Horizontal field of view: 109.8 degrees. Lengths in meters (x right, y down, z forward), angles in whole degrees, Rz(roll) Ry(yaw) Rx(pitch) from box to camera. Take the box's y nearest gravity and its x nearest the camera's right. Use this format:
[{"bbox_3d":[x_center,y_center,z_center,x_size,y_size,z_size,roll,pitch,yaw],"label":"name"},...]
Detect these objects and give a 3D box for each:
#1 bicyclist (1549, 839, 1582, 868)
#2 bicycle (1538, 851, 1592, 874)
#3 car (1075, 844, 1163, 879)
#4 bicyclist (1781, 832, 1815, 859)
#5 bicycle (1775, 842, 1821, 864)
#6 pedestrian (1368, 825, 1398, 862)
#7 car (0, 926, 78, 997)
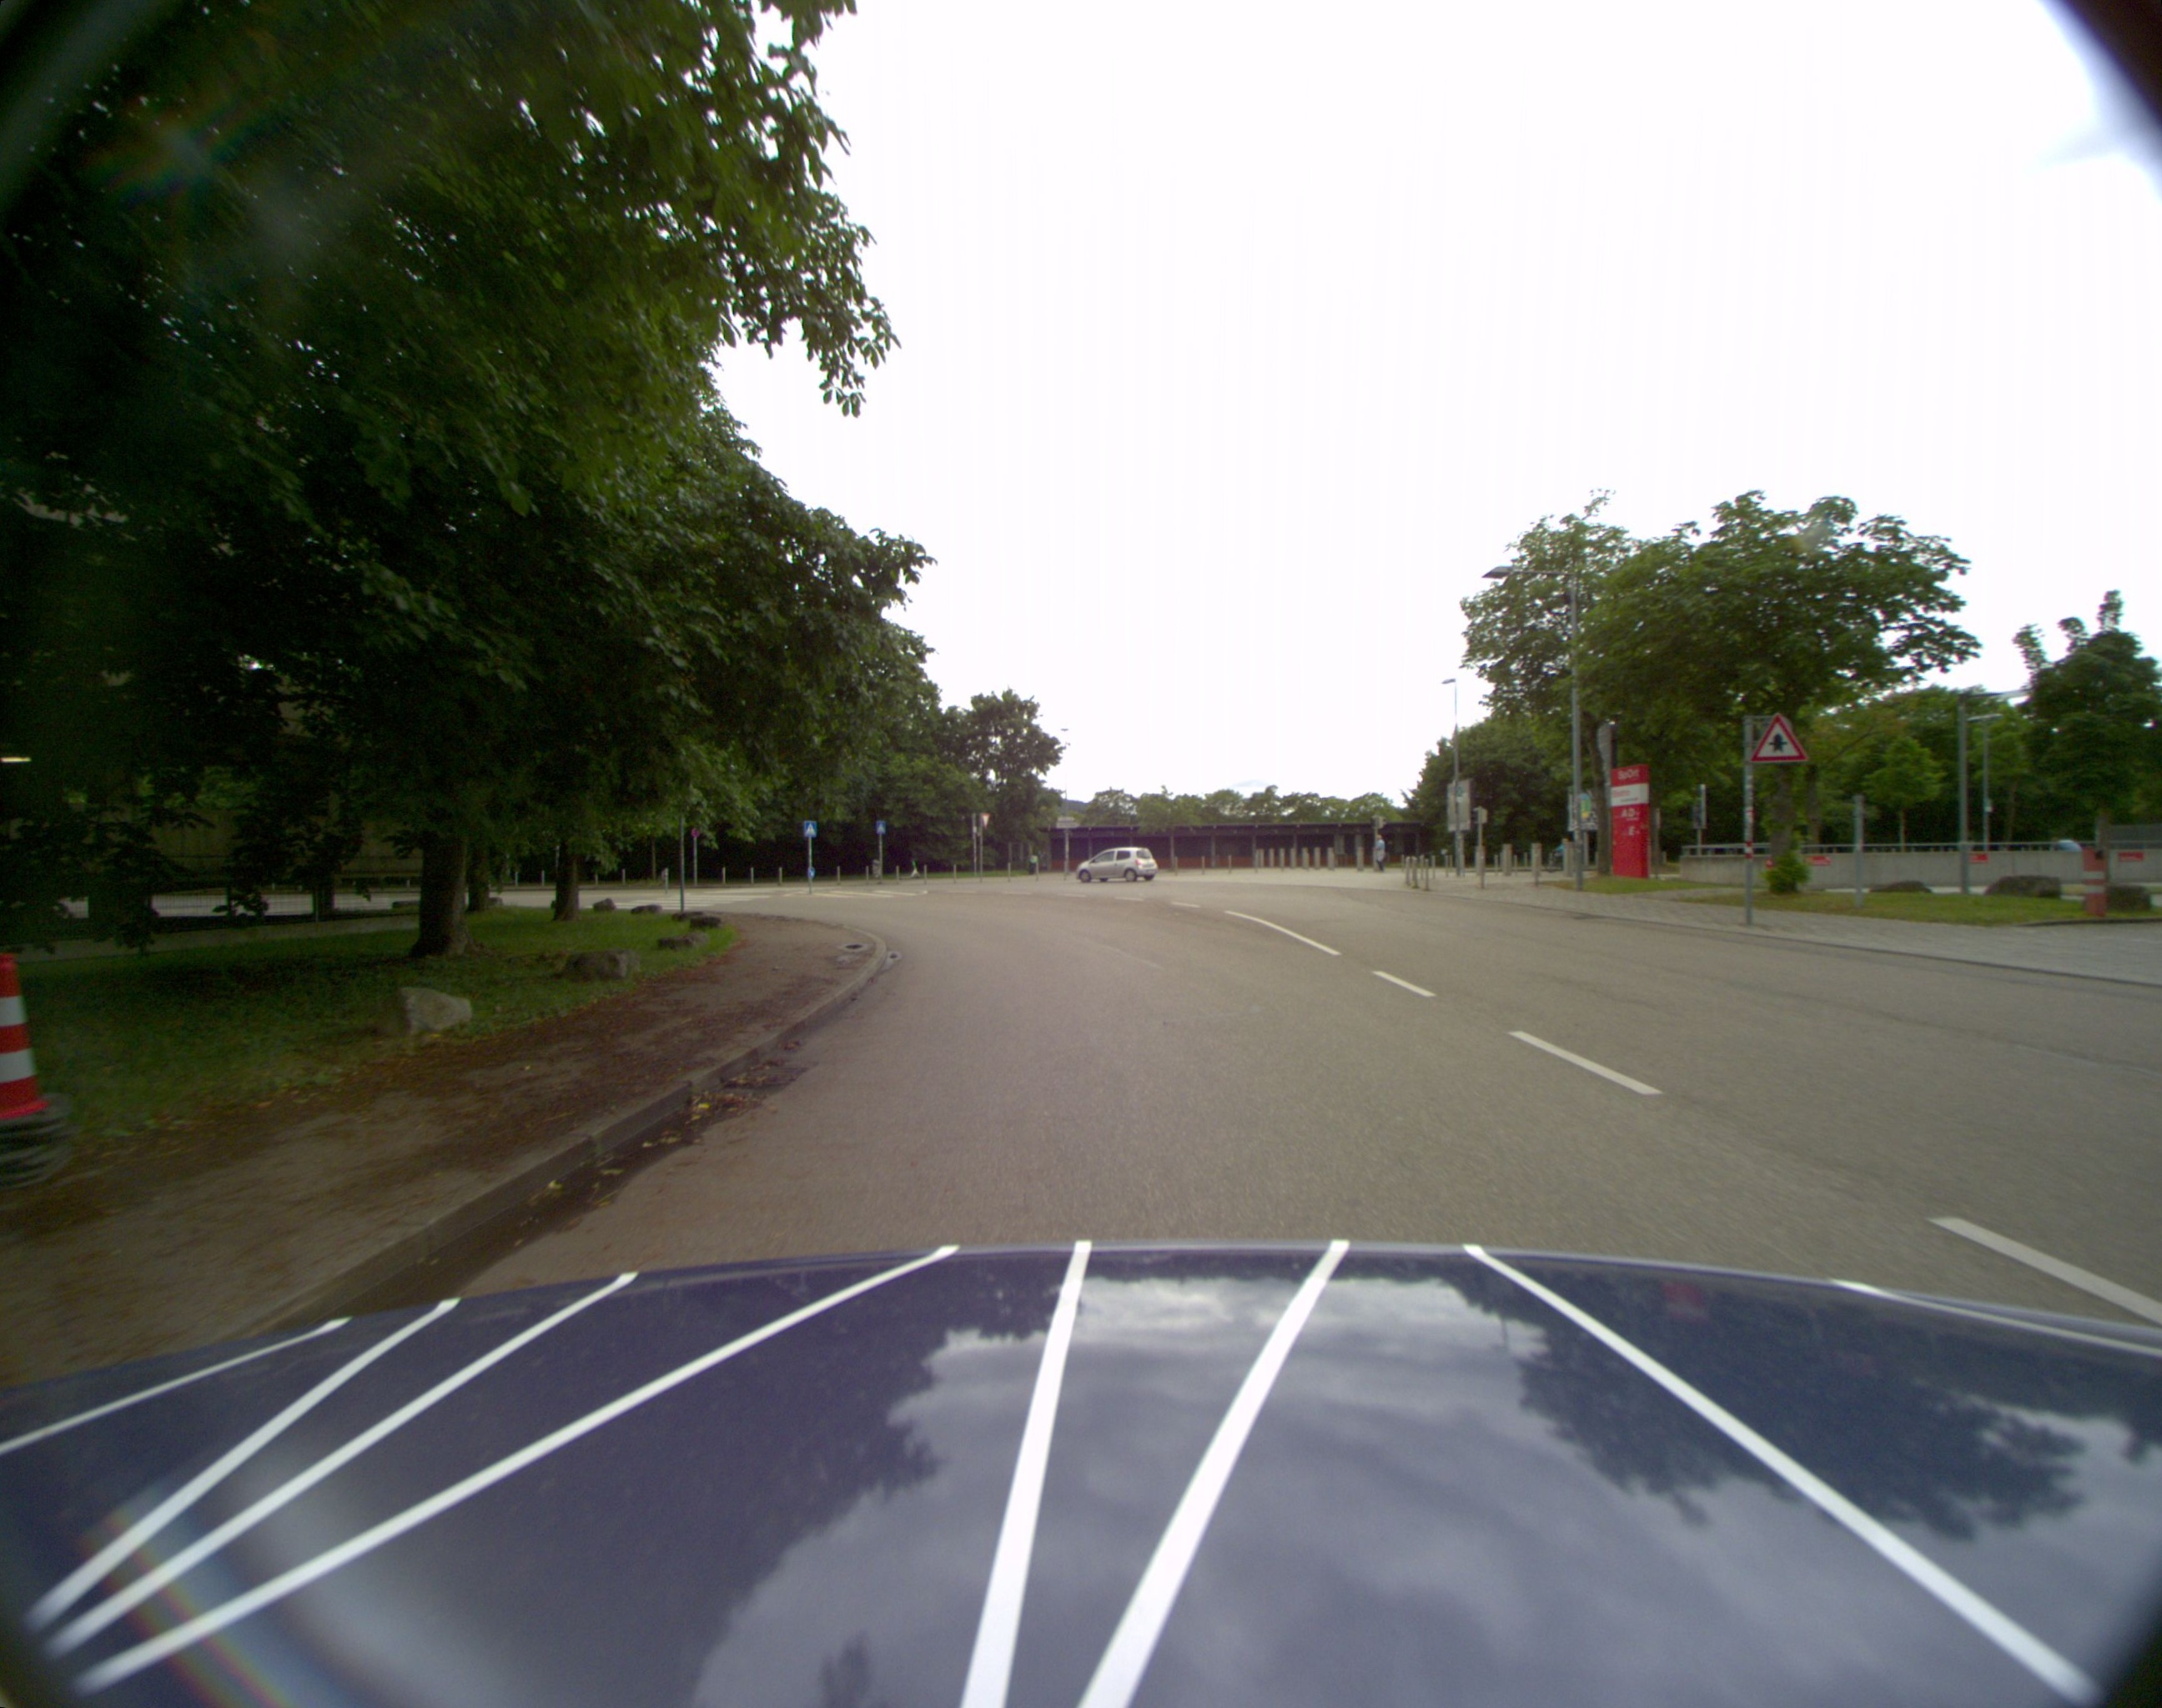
[{"bbox_3d":[24.573,-0.022,38.539,1.159,1.422,0.743,-2,1,-2],"label":"bicyclist"},{"bbox_3d":[24.546,0.428,38.550,2.256,1.117,0.748,-2,1,-2],"label":"bicycle"},{"bbox_3d":[1.670,0.340,33.339,3.493,1.447,1.610,-1,1,35],"label":"car"},{"bbox_3d":[40.681,-0.467,43.107,1.101,1.487,0.927,-2,2,-8],"label":"bicyclist"},{"bbox_3d":[40.697,-0.081,43.119,2.051,1.137,0.777,-2,2,-8],"label":"bicycle"},{"bbox_3d":[15.249,-0.535,38.394,1.200,1.823,0.928,-2,2,5],"label":"pedestrian"},{"bbox_3d":[-25.261,2.516,16.342,1.876,1.445,4.001,-2,1,5],"label":"car"}]
